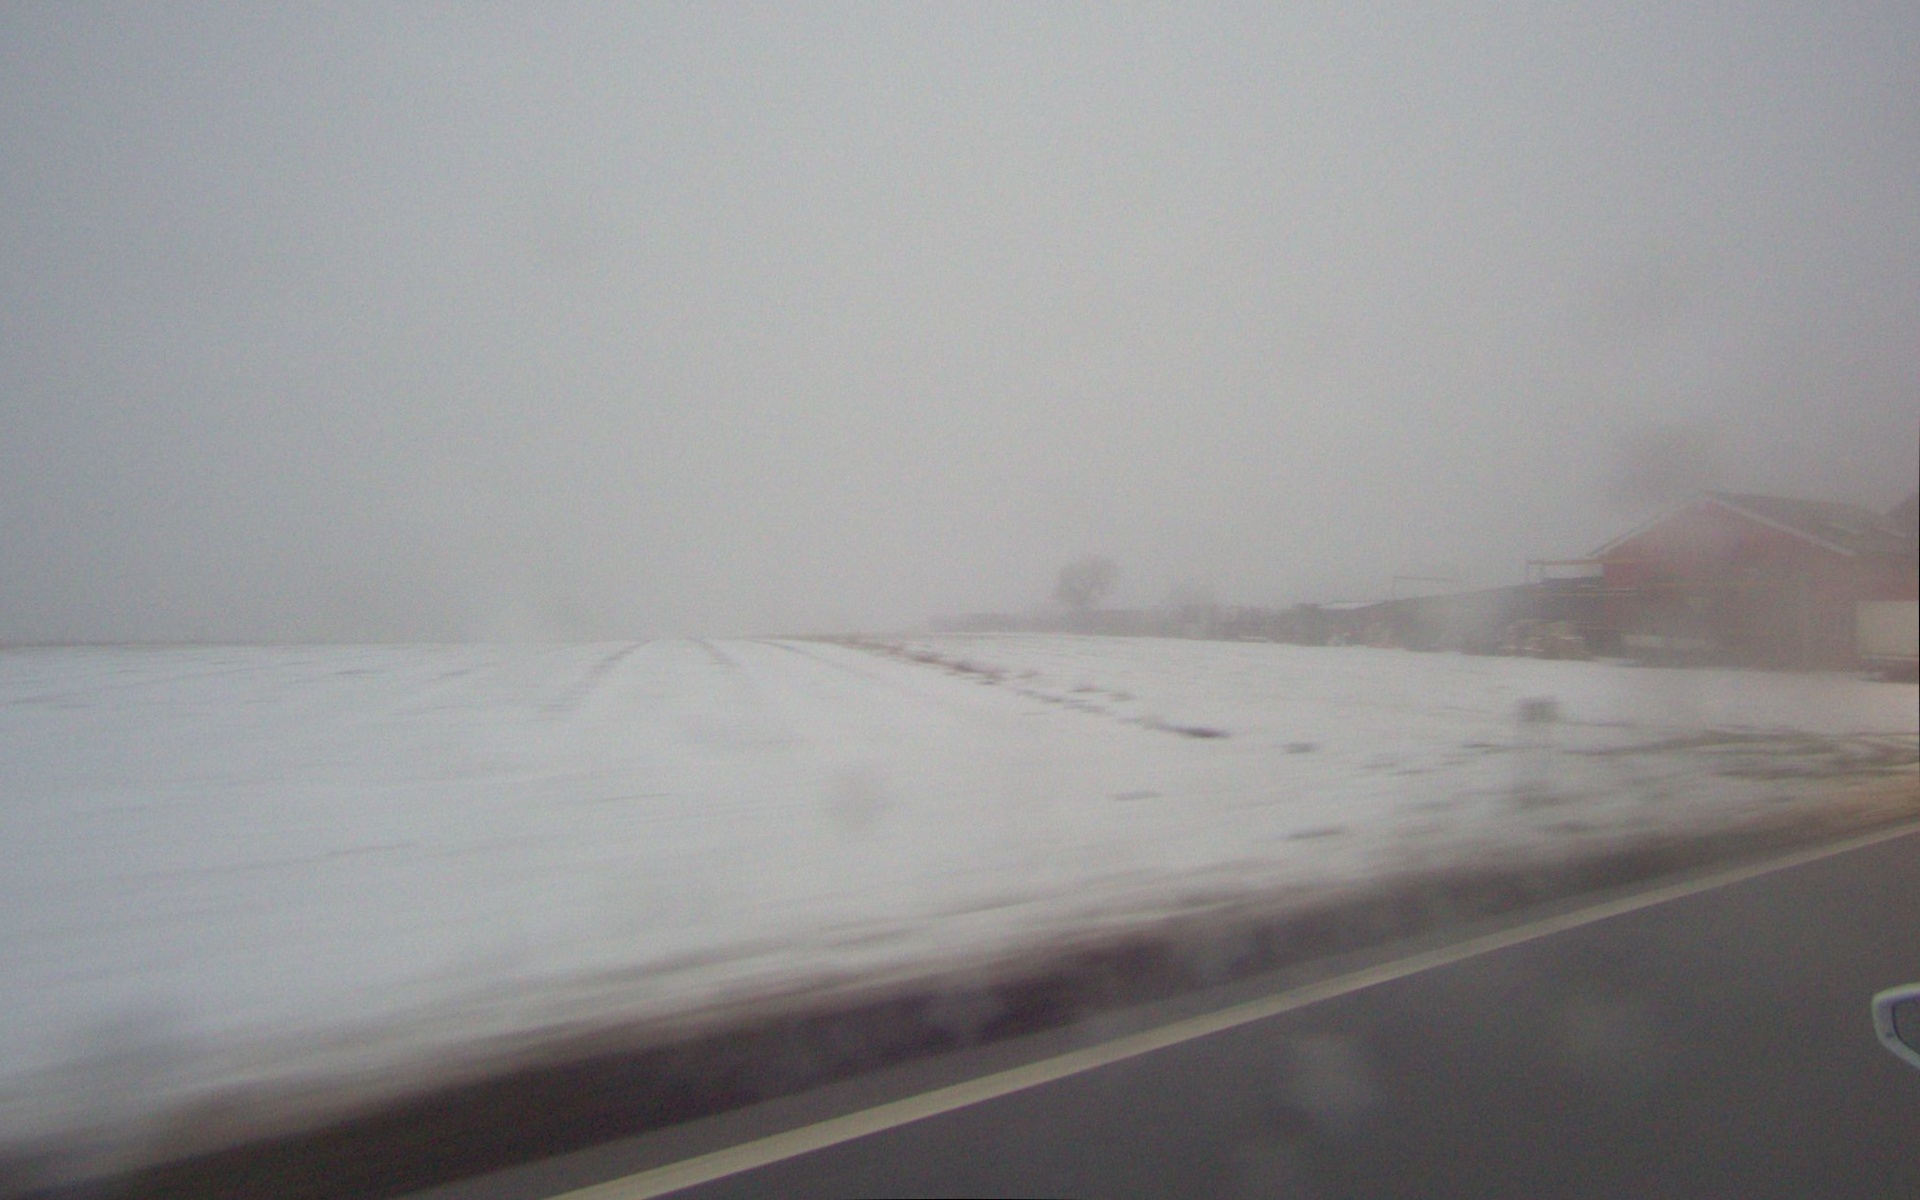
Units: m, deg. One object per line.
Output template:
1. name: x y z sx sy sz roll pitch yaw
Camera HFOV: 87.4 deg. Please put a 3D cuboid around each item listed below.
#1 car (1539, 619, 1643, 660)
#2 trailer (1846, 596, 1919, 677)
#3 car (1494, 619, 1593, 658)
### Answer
1. car: 27.255 1.698 43.372 3.946 1.684 1.988 2 -2 -25
2. trailer: 31.479 1.219 33.030 3.952 2.522 1.989 1 -2 -23
3. car: 26.340 1.741 45.354 3.945 1.684 1.988 2 -2 -24
